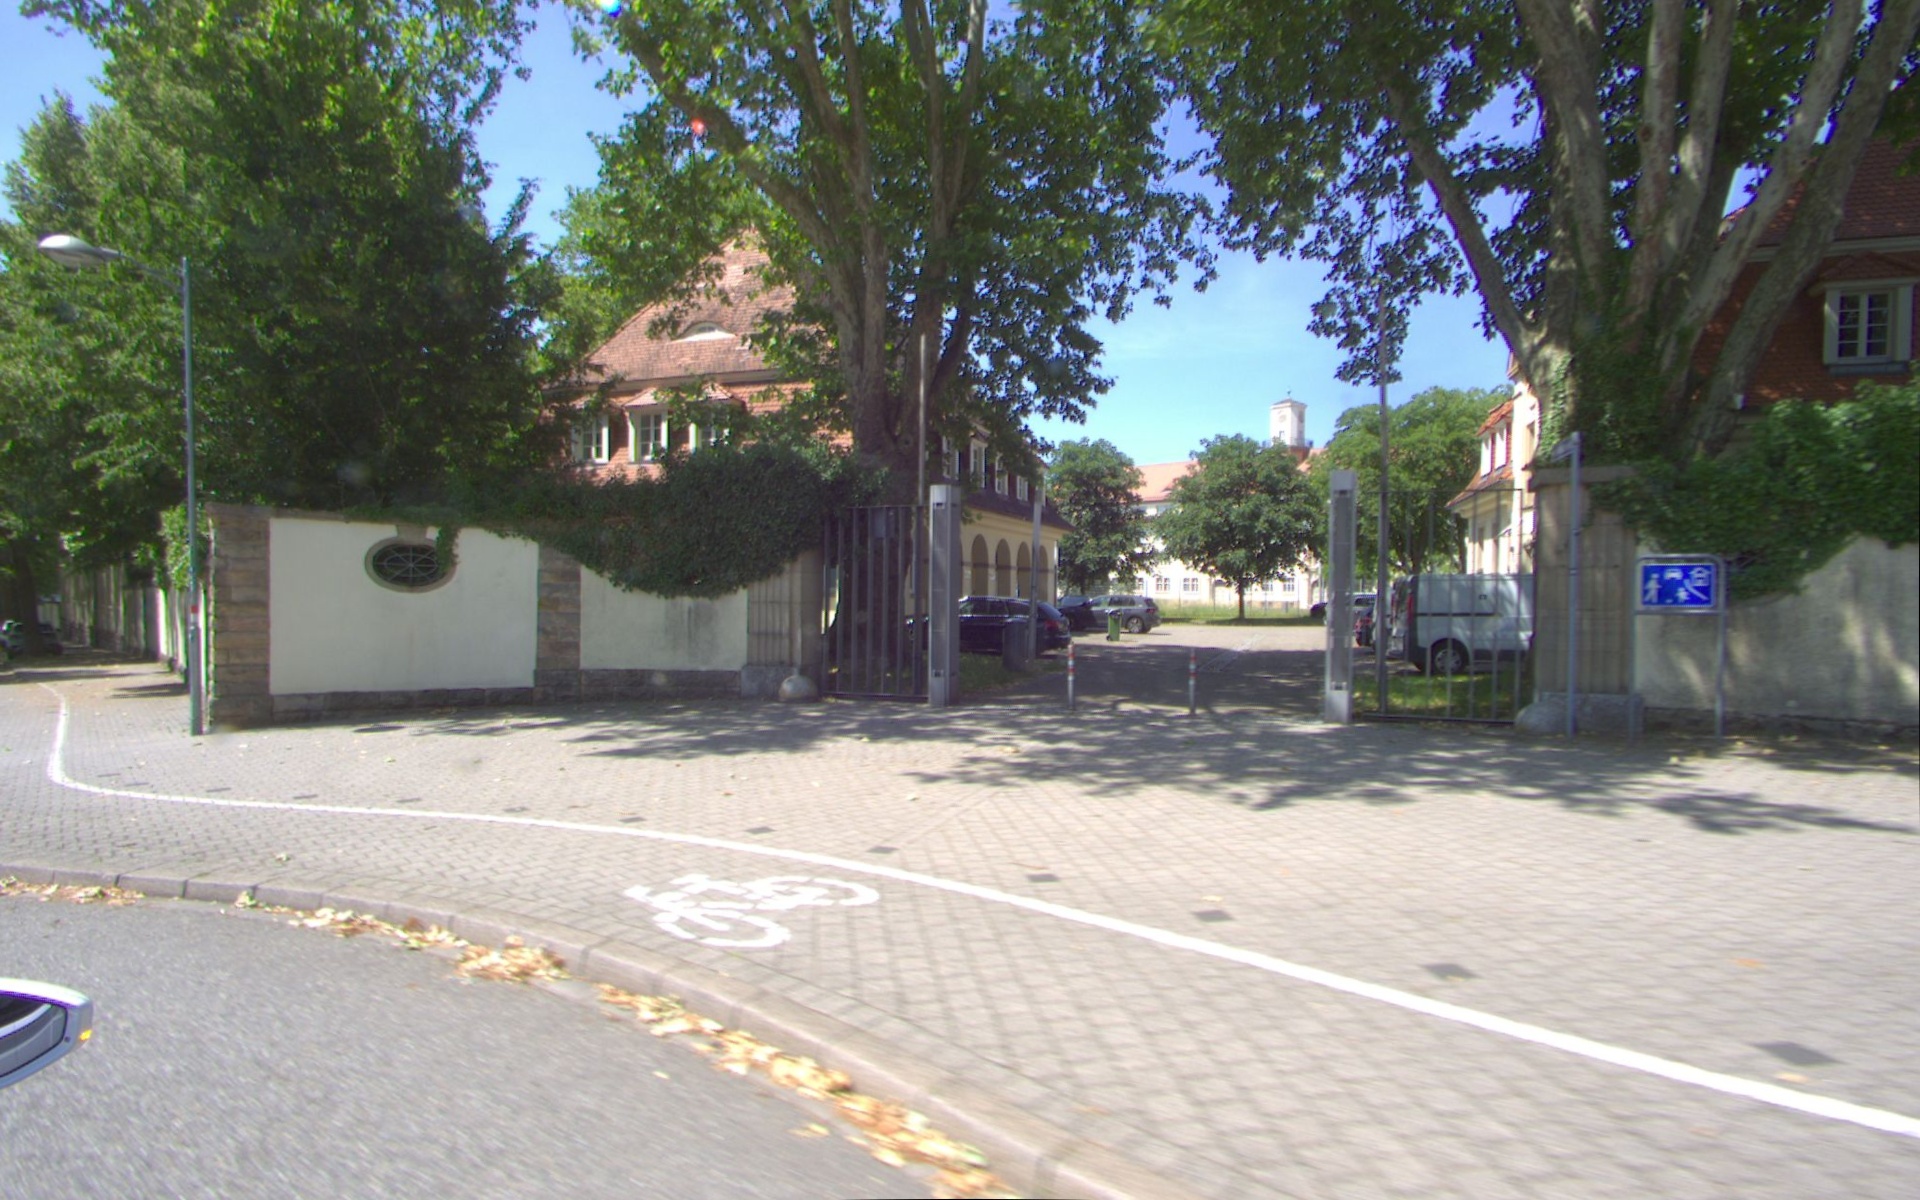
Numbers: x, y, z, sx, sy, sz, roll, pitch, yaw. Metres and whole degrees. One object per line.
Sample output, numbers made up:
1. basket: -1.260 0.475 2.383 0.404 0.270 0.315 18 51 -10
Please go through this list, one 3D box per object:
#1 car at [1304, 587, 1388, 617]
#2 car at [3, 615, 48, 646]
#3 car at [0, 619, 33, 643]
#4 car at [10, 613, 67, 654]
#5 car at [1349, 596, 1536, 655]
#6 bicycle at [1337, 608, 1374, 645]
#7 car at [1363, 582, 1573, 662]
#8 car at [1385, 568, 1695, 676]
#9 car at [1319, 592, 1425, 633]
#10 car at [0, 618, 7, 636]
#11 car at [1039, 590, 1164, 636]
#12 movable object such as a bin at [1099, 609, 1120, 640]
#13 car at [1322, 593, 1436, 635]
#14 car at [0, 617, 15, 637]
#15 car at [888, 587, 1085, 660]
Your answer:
1. car: 21.535 0.128 55.956 4.044 1.566 1.797 -1 0 40
2. car: -57.187 1.825 61.281 1.796 1.712 4.703 -3 1 -45
3. car: -64.669 2.098 68.330 3.834 1.453 1.756 -1 1 44
4. car: -40.929 1.439 44.435 1.729 1.578 4.733 -3 2 -43
5. car: 12.830 0.678 26.887 4.253 1.504 1.809 -1 0 16
6. bicycle: 12.850 0.851 32.599 0.691 1.148 1.988 -1 0 9
7. car: 12.293 0.530 24.514 4.252 1.835 1.839 -1 0 15
8. car: 10.918 0.437 19.266 4.776 1.911 1.974 -1 0 15
9. car: 17.265 0.531 42.159 4.021 1.633 1.807 -1 0 20
10. car: -84.010 2.373 86.853 3.834 1.485 1.756 -1 1 44
11. car: 5.543 0.463 39.092 4.423 1.422 1.995 4 2 21
12. movable object such as a bin: 4.903 0.800 32.793 0.528 1.022 0.527 -1 1 -10
13. car: 16.355 0.559 39.317 4.021 1.566 1.807 -1 0 20
14. car: -74.917 2.125 78.065 3.834 1.485 1.568 -1 1 44
15. car: 0.660 0.531 24.896 4.423 1.422 1.995 4 2 21
